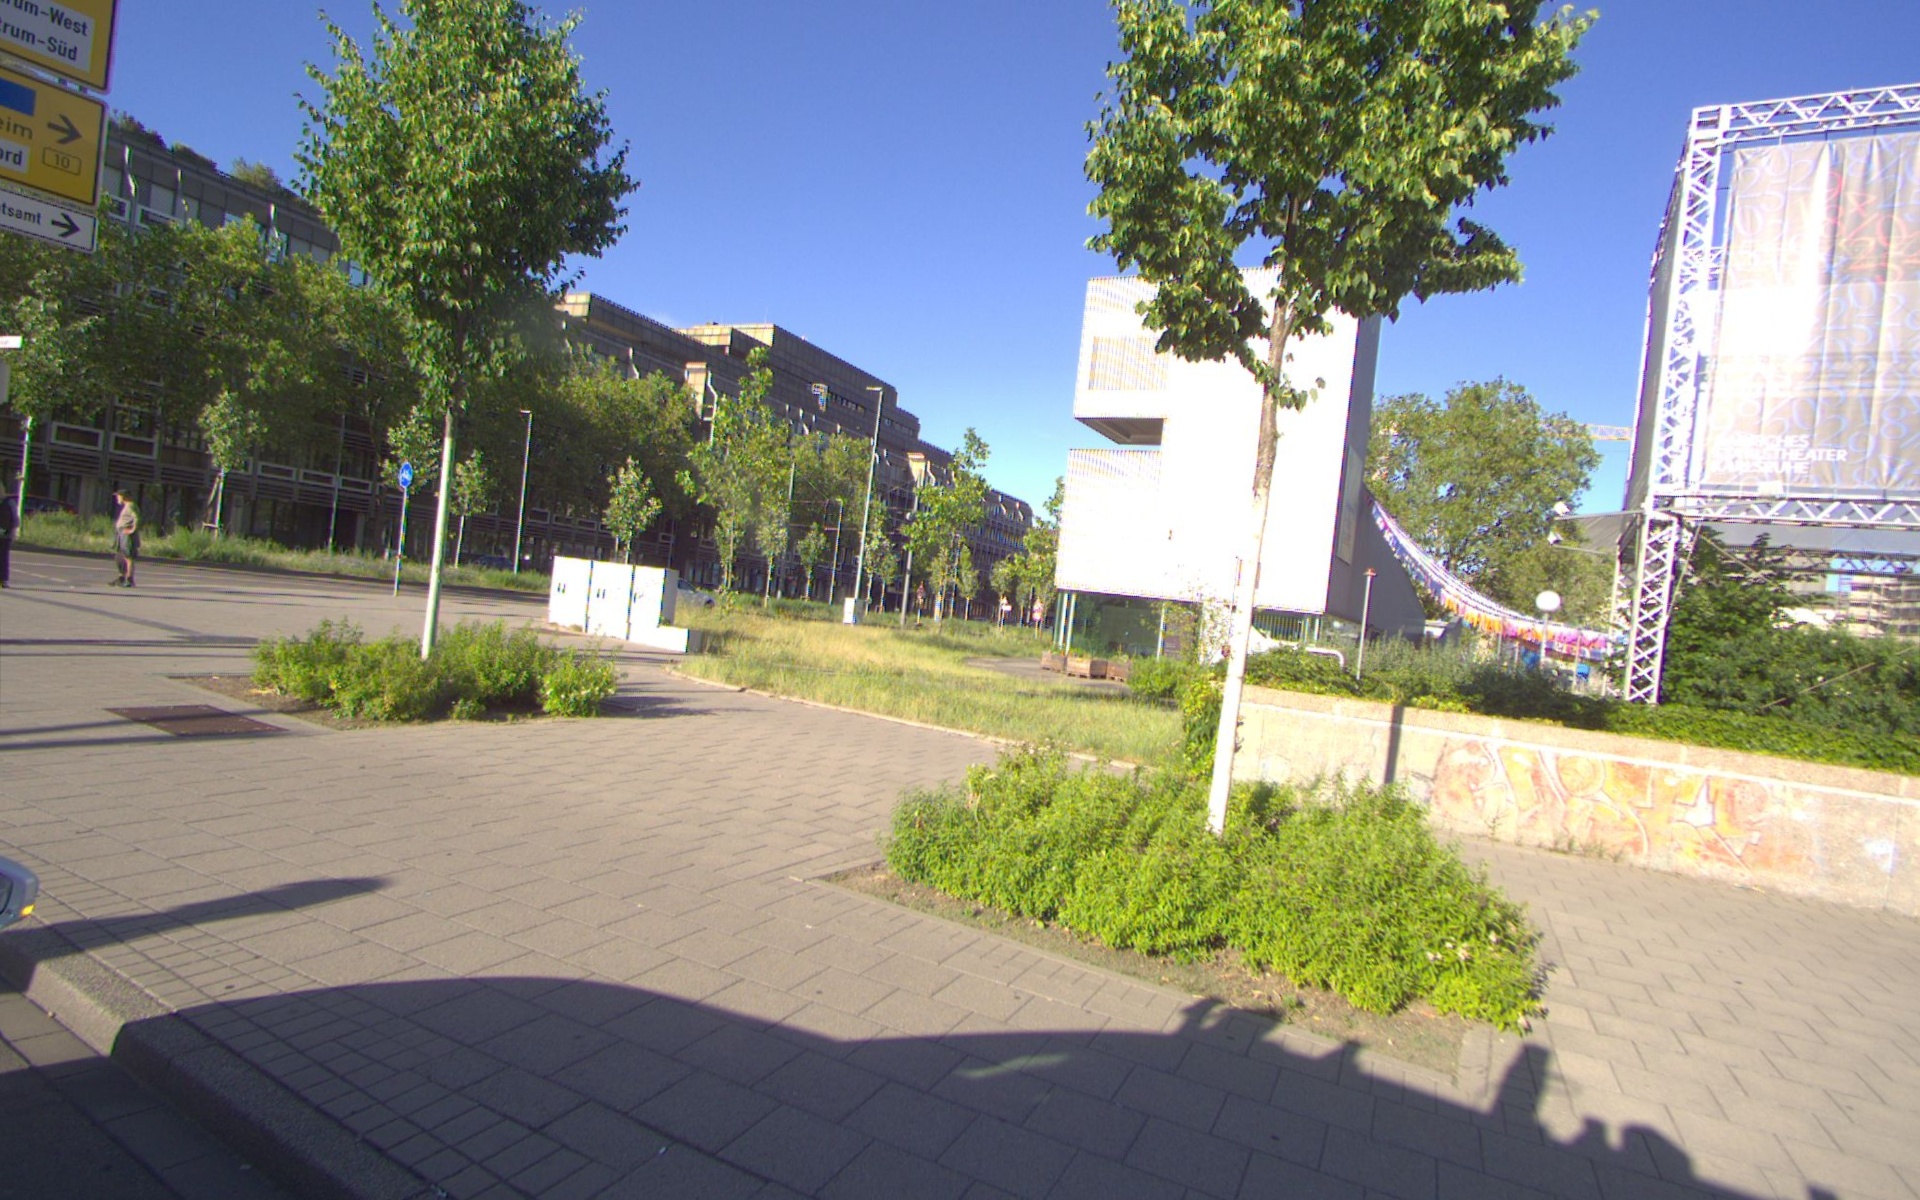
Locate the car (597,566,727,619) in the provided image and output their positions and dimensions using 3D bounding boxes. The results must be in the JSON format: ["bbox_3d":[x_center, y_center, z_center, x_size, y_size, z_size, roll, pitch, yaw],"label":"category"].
[{"bbox_3d":[-11.629,-0.242,39.657,1.964,1.583,5.098,7,-1,23],"label":"car"}]

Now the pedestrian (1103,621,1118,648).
[{"bbox_3d":[9.143,2.097,61.199,0.520,1.571,0.638,7,-1,31],"label":"pedestrian"}]

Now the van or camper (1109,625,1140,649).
[{"bbox_3d":[15.819,3.584,96.795,1.969,2.038,4.844,7,-1,19],"label":"van or camper"}]

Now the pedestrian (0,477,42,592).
[{"bbox_3d":[-14.273,-0.997,14.833,0.859,1.634,0.767,7,1,30],"label":"pedestrian"}]

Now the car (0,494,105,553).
[{"bbox_3d":[-33.257,-2.788,35.489,1.792,1.704,4.302,7,-1,21],"label":"car"}]

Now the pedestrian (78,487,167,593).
[{"bbox_3d":[-14.921,-1.059,17.932,0.755,1.728,0.873,7,1,30],"label":"pedestrian"}]

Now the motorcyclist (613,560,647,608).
[{"bbox_3d":[-11.090,-0.531,33.853,0.588,1.497,0.751,7,0,24],"label":"motorcyclist"}]
